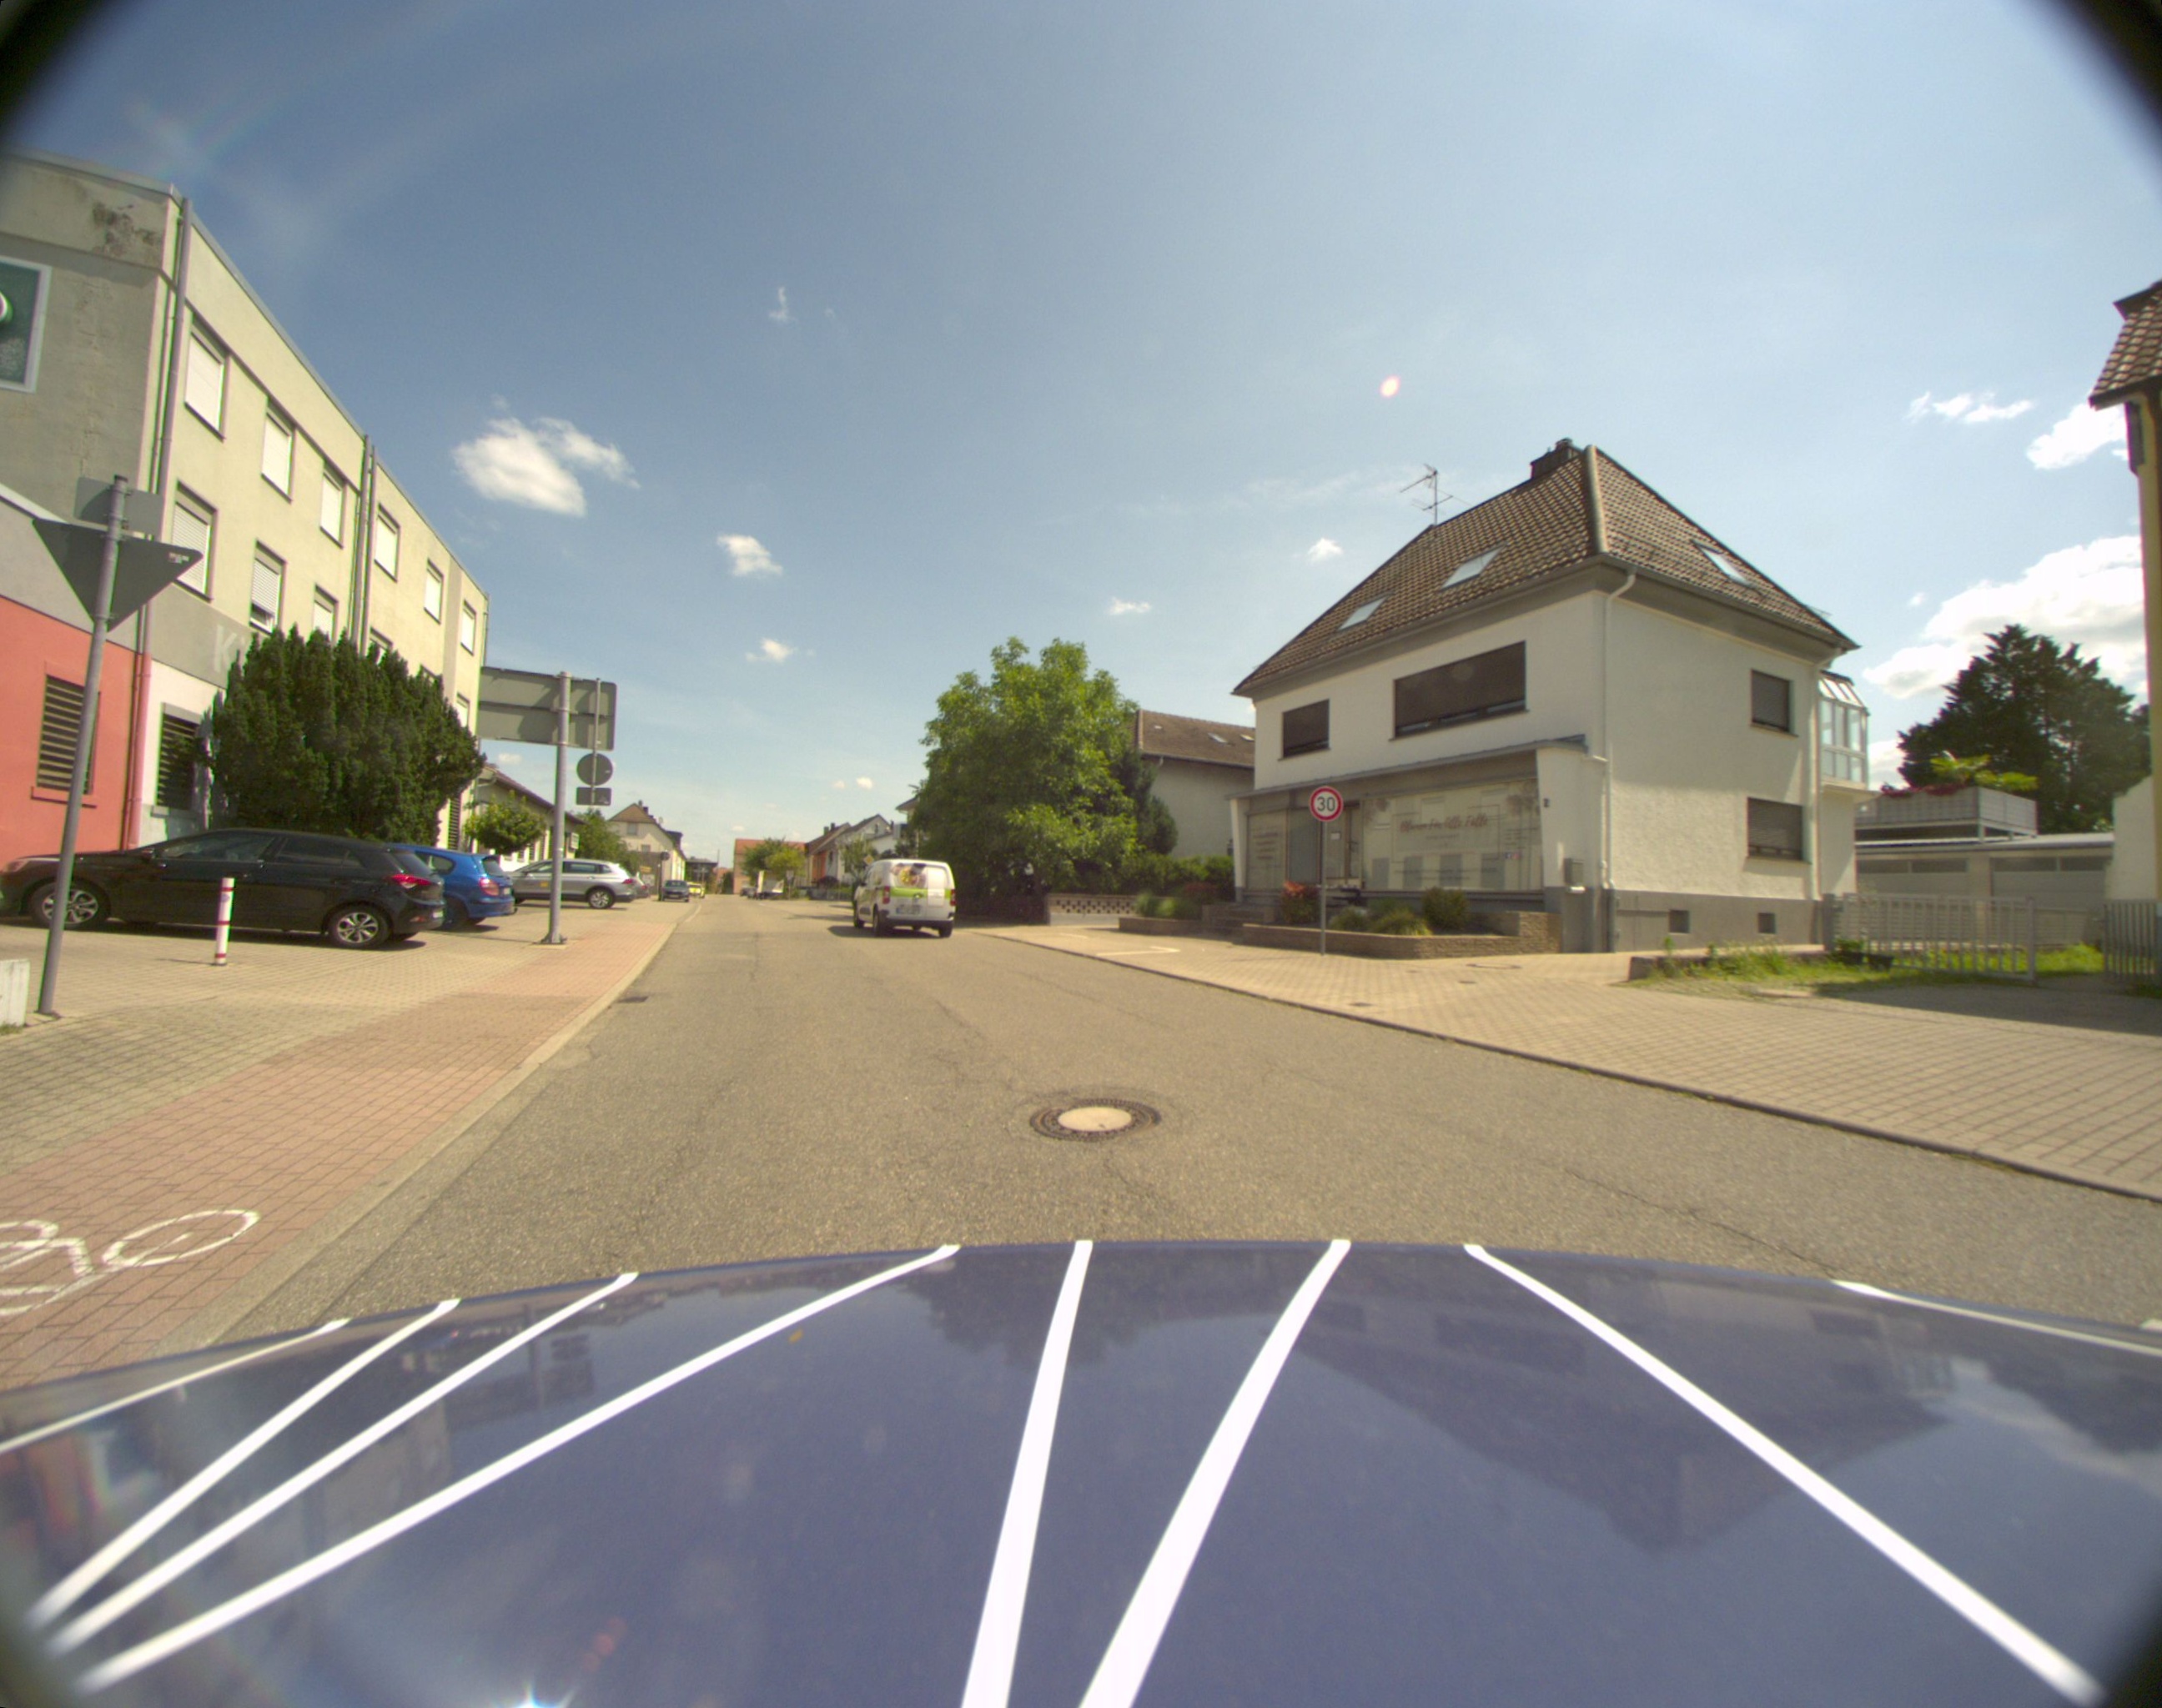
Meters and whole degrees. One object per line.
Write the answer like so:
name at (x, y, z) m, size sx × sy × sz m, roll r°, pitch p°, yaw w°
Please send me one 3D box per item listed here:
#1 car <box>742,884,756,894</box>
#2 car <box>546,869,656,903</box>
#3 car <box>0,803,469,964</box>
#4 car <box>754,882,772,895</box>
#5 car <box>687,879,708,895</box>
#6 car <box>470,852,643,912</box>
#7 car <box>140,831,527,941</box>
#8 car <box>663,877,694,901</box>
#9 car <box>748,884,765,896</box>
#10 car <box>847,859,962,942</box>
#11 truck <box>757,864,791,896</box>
car at (-56.995, 5.981, 130.411) m, size 1.725 × 1.490 × 4.207 m, roll 5°, pitch -5°, yaw -26°
car at (-24.697, 1.679, 39.325) m, size 4.549 × 1.444 × 1.914 m, roll 5°, pitch -4°, yaw -26°
car at (-11.072, 0.465, 10.262) m, size 3.916 × 1.480 × 1.806 m, roll 10°, pitch -5°, yaw -27°
car at (-40.835, 4.408, 97.433) m, size 1.725 × 1.490 × 4.207 m, roll 5°, pitch -5°, yaw -26°
car at (-39.074, 3.344, 77.426) m, size 1.725 × 1.388 × 4.208 m, roll 7°, pitch -5°, yaw -25°
car at (-17.484, 0.978, 25.634) m, size 4.476 × 1.686 × 1.919 m, roll 5°, pitch -4°, yaw -28°
car at (-12.517, 0.575, 13.184) m, size 4.345 × 1.430 × 1.776 m, roll 7°, pitch -2°, yaw -26°
car at (-26.685, 2.307, 50.436) m, size 1.636 × 1.479 × 4.132 m, roll 4°, pitch -4°, yaw -27°
car at (-43.936, 4.809, 102.892) m, size 1.725 × 1.490 × 4.207 m, roll 5°, pitch -5°, yaw -26°
car at (-4.587, 1.112, 19.228) m, size 1.821 × 1.843 × 4.550 m, roll 3°, pitch -2°, yaw -26°
truck at (-34.433, 2.985, 85.049) m, size 2.450 × 3.225 × 7.022 m, roll 7°, pitch -5°, yaw -28°
